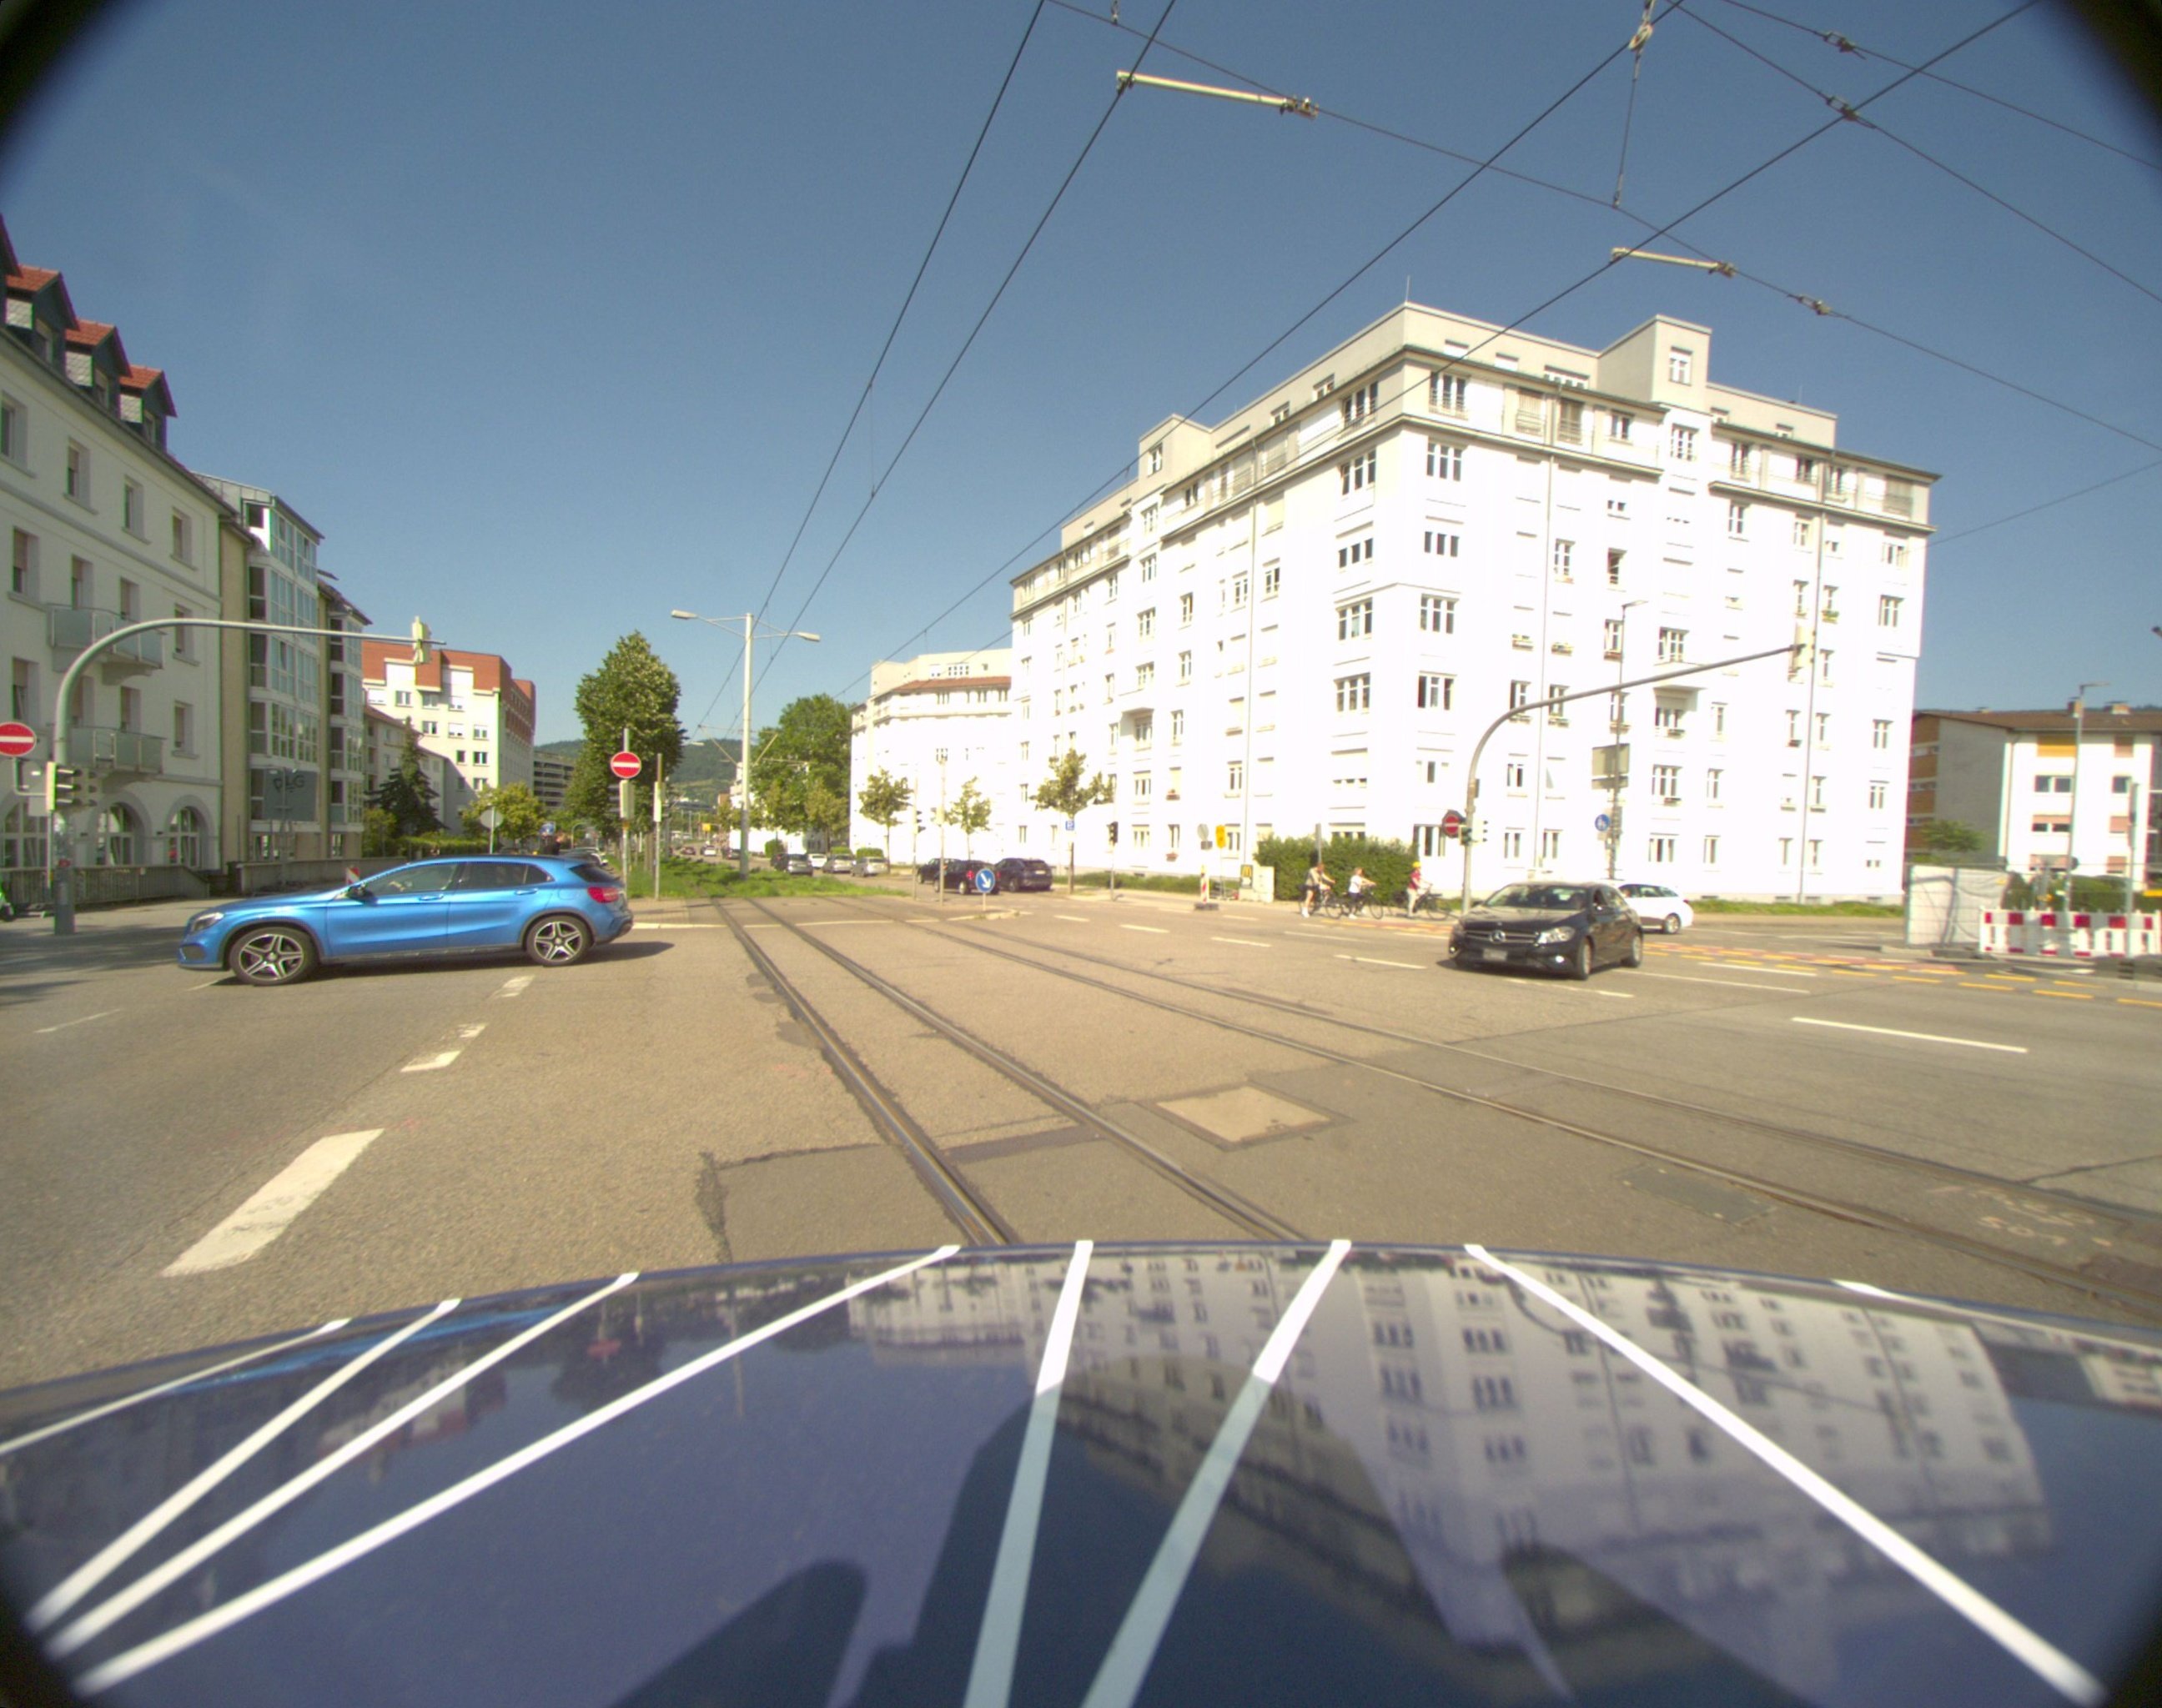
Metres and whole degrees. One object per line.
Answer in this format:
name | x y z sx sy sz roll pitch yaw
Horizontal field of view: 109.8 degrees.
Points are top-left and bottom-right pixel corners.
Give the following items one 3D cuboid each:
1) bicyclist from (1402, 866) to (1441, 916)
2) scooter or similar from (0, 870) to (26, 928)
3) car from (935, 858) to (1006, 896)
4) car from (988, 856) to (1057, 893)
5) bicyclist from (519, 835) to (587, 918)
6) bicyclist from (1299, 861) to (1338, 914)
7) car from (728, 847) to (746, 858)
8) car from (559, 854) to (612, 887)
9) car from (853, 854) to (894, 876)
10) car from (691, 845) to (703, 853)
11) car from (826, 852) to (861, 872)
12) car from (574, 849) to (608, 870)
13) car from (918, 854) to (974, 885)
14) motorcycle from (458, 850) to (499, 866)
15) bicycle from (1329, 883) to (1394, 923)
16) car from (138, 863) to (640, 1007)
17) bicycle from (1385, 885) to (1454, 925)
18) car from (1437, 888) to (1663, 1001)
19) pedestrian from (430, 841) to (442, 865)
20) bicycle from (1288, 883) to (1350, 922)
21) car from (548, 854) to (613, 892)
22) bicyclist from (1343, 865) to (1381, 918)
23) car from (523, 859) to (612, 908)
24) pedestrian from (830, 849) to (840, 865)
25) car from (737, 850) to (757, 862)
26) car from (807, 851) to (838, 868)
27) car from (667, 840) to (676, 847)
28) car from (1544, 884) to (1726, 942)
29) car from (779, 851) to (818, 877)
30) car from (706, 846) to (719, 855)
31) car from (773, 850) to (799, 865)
bicyclist | 10.362 1.107 23.131 0.599 1.469 0.915 0 1 -43
scooter or similar | -20.953 0.878 14.366 0.339 1.111 1.303 1 0 -9
car | -4.830 0.951 32.941 1.597 1.484 3.652 2 0 -34
car | -2.820 0.926 36.024 1.743 1.628 3.730 0 1 -32
bicyclist | -10.939 0.452 15.770 1.011 1.644 0.807 -2 0 -27
bicyclist | 7.439 1.040 23.804 0.625 1.581 0.915 0 2 -41
car | -47.052 -0.164 104.024 1.743 1.476 3.730 0 1 -32
car | -22.685 0.708 34.898 1.771 1.346 3.990 -1 1 -29
car | -14.661 0.747 53.604 1.743 1.476 3.730 0 1 -32
car | -68.239 -0.894 134.993 1.802 1.476 3.731 0 1 -30
car | -18.952 0.616 60.453 1.743 1.476 3.730 0 1 -32
car | -33.895 0.359 52.527 1.771 1.346 3.989 -1 1 -36
car | -7.737 0.830 43.343 1.743 1.628 3.730 0 1 -34
motorcycle | -43.373 0.289 54.739 2.182 1.159 0.742 1 1 -26
bicycle | 8.694 1.510 23.610 0.629 1.093 1.781 -1 2 -45
car | -8.437 0.885 9.924 4.557 1.472 1.672 0 0 -29
bicycle | 10.305 1.527 23.180 0.606 1.093 1.809 0 1 -43
car | 7.586 1.276 12.072 4.633 1.399 1.699 2 -1 -41
pedestrian | -48.931 -0.070 57.669 0.600 1.753 0.750 0 1 -34
bicycle | 7.439 1.497 23.808 0.620 1.093 1.781 0 2 -41
car | -19.501 0.695 29.727 1.771 1.346 3.990 -1 1 -28
bicyclist | 8.714 1.134 23.588 0.625 1.570 0.915 -1 2 -45
car | -15.886 0.864 23.703 1.770 1.313 3.991 -1 1 -26
pedestrian | -25.833 0.344 79.783 0.860 1.656 0.908 1 0 -27
car | -42.767 0.195 97.317 1.743 1.476 3.730 0 1 -32
car | -22.718 0.466 66.662 1.743 1.476 3.730 0 1 -32
car | -95.943 -2.390 177.922 1.802 1.672 3.731 0 1 -30
car | 15.183 1.600 20.824 4.490 1.403 1.699 2 0 -18
car | -18.487 0.629 49.597 1.700 1.547 3.646 1 0 -31
car | -61.932 -0.562 127.642 1.743 1.476 3.731 0 1 -30
car | -30.106 0.375 77.493 1.743 1.476 3.730 0 1 -32
